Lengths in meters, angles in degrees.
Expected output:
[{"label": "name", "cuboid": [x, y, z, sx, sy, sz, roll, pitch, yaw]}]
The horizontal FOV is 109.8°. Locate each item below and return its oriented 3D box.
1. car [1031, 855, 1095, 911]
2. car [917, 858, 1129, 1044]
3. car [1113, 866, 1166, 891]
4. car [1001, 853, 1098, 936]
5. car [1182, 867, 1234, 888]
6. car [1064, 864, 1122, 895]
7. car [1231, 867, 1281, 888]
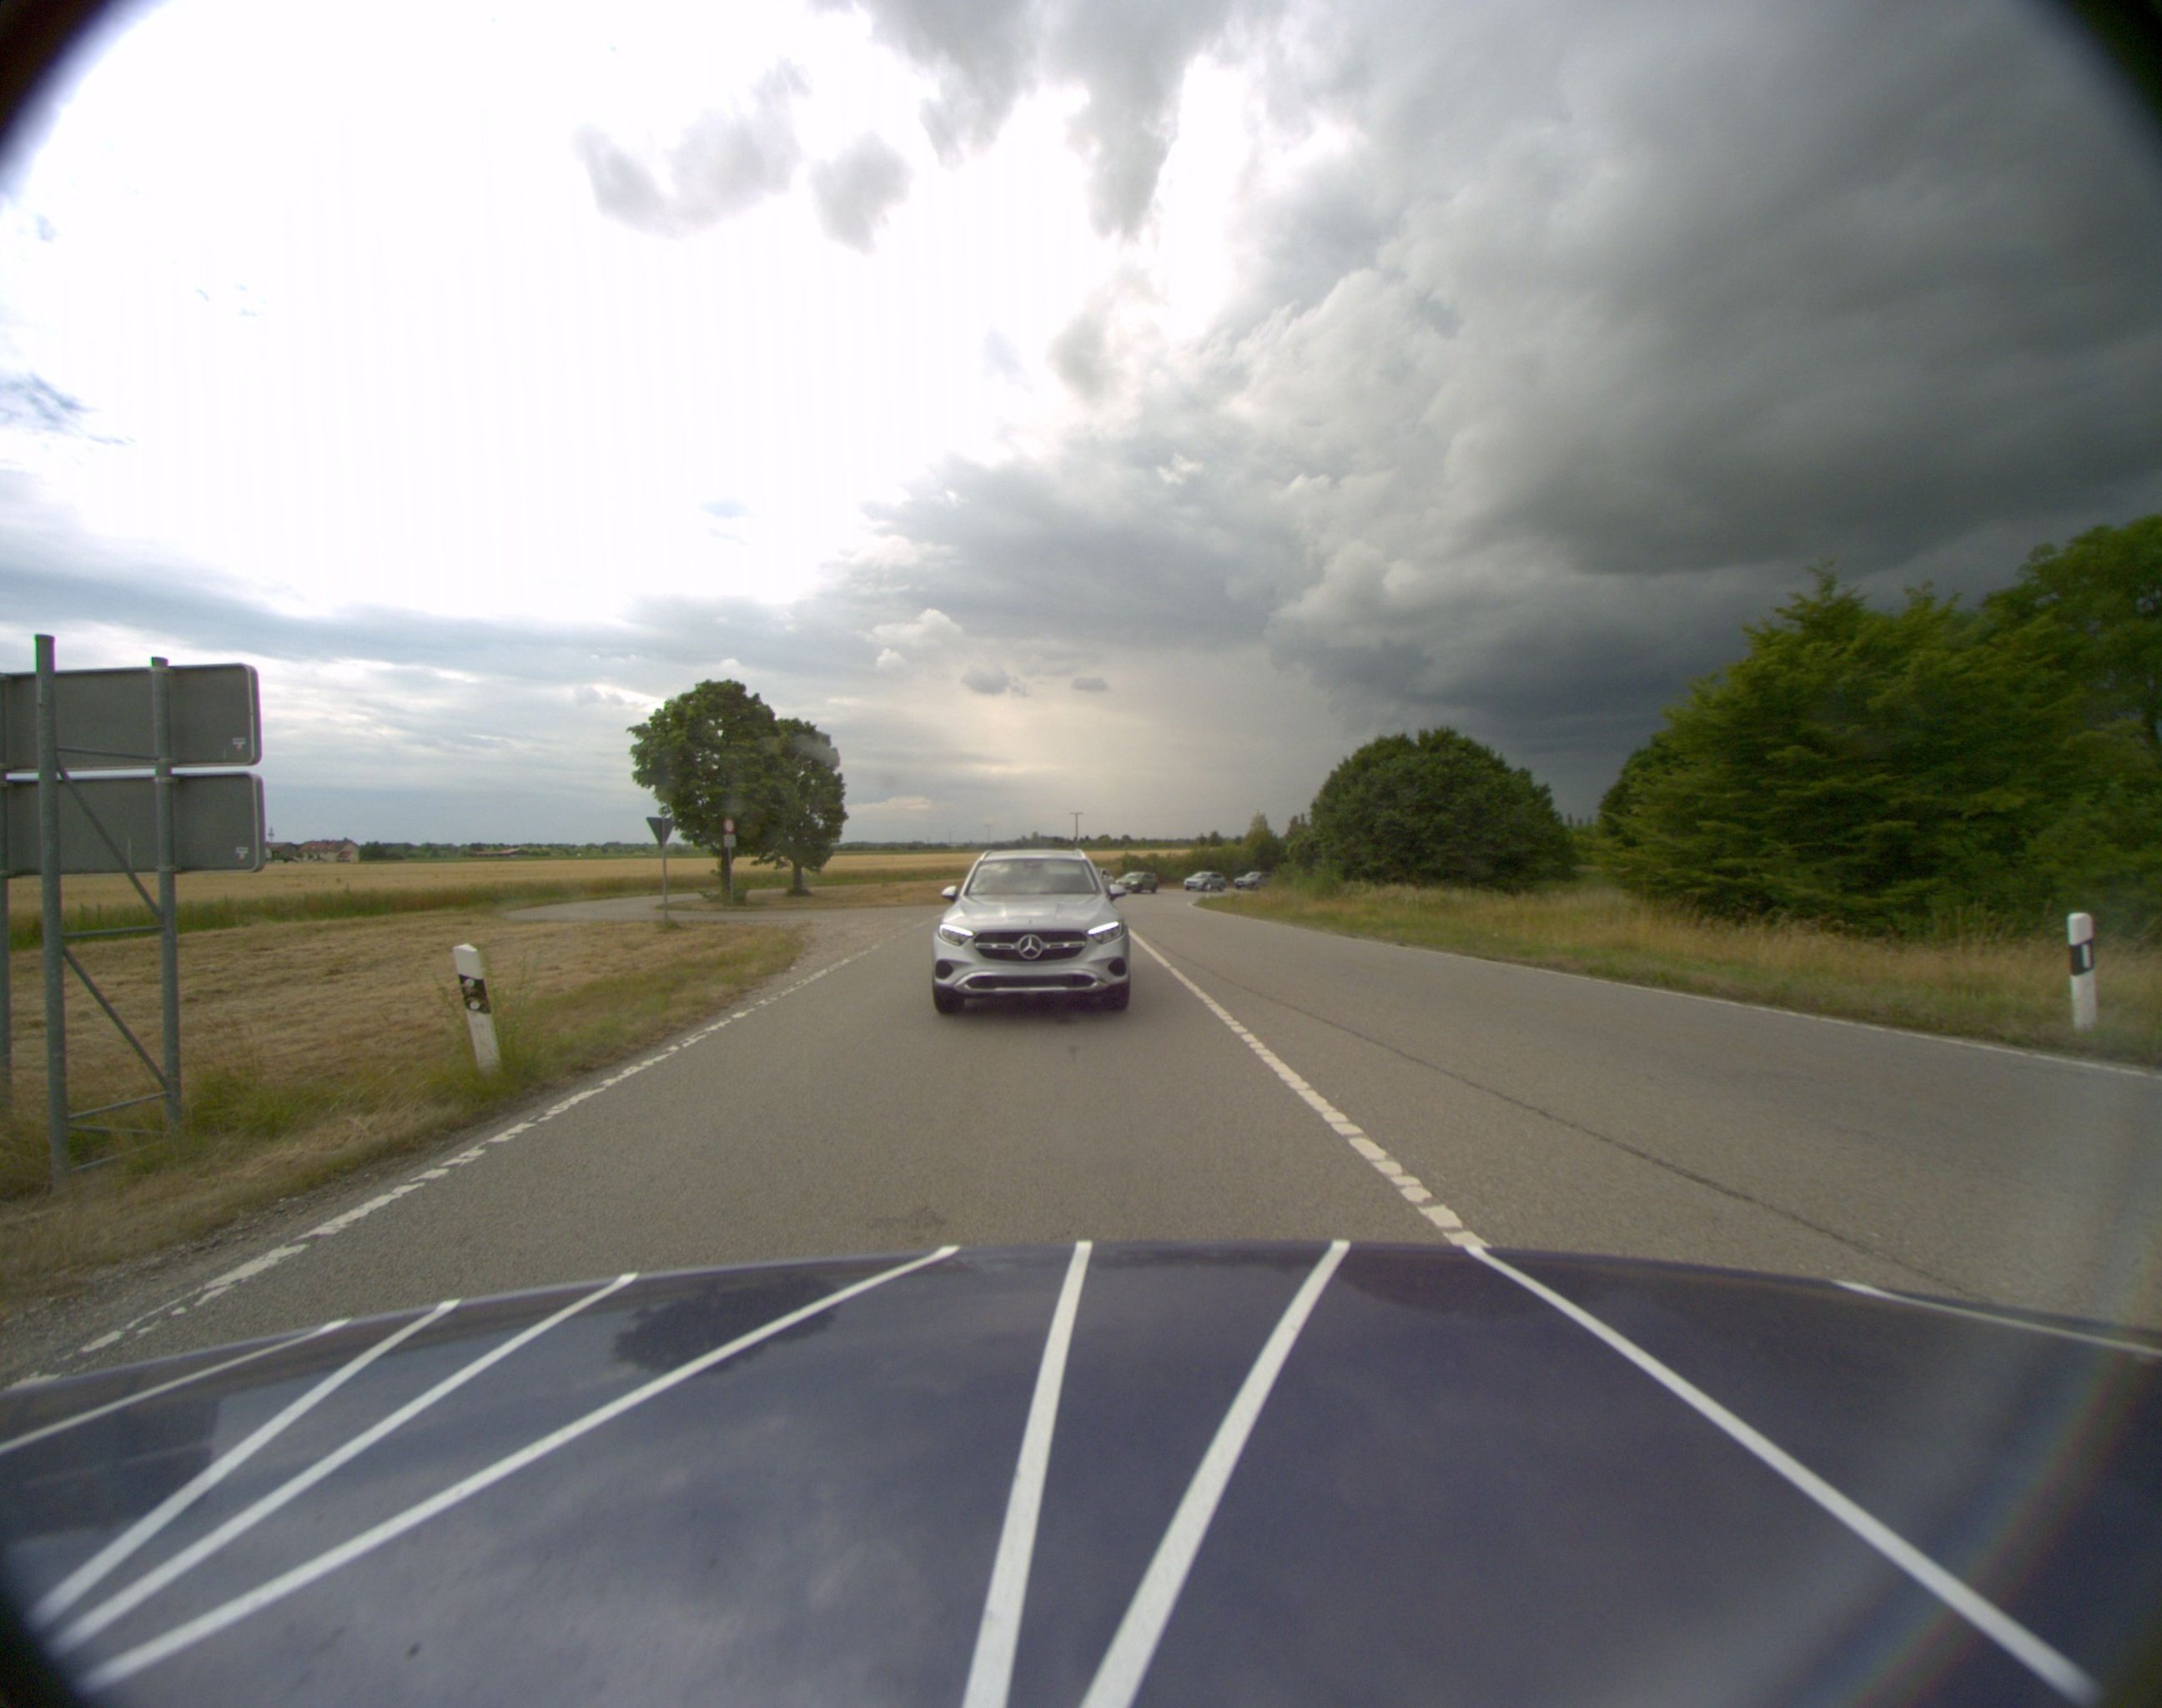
[{"label": "car", "cuboid": [-0.564, 1.020, 27.255, 1.998, 1.709, 5.210, 3, -2, 0]}, {"label": "car", "cuboid": [-0.555, 0.855, 8.820, 1.837, 1.577, 4.449, 0, 0, -1]}, {"label": "car", "cuboid": [4.346, 1.767, 55.519, 1.994, 1.709, 5.219, 2, 0, 25]}, {"label": "car", "cuboid": [-0.593, 0.866, 18.227, 1.998, 1.709, 5.209, 0, -1, 1]}, {"label": "car", "cuboid": [10.957, 2.017, 65.311, 1.994, 1.709, 5.221, 2, 0, 39]}, {"label": "car", "cuboid": [0.825, 1.526, 46.806, 1.995, 1.709, 5.217, 2, 0, 19]}, {"label": "car", "cuboid": [16.490, 2.164, 71.489, 5.219, 1.710, 1.994, -1, 2, -43]}]
